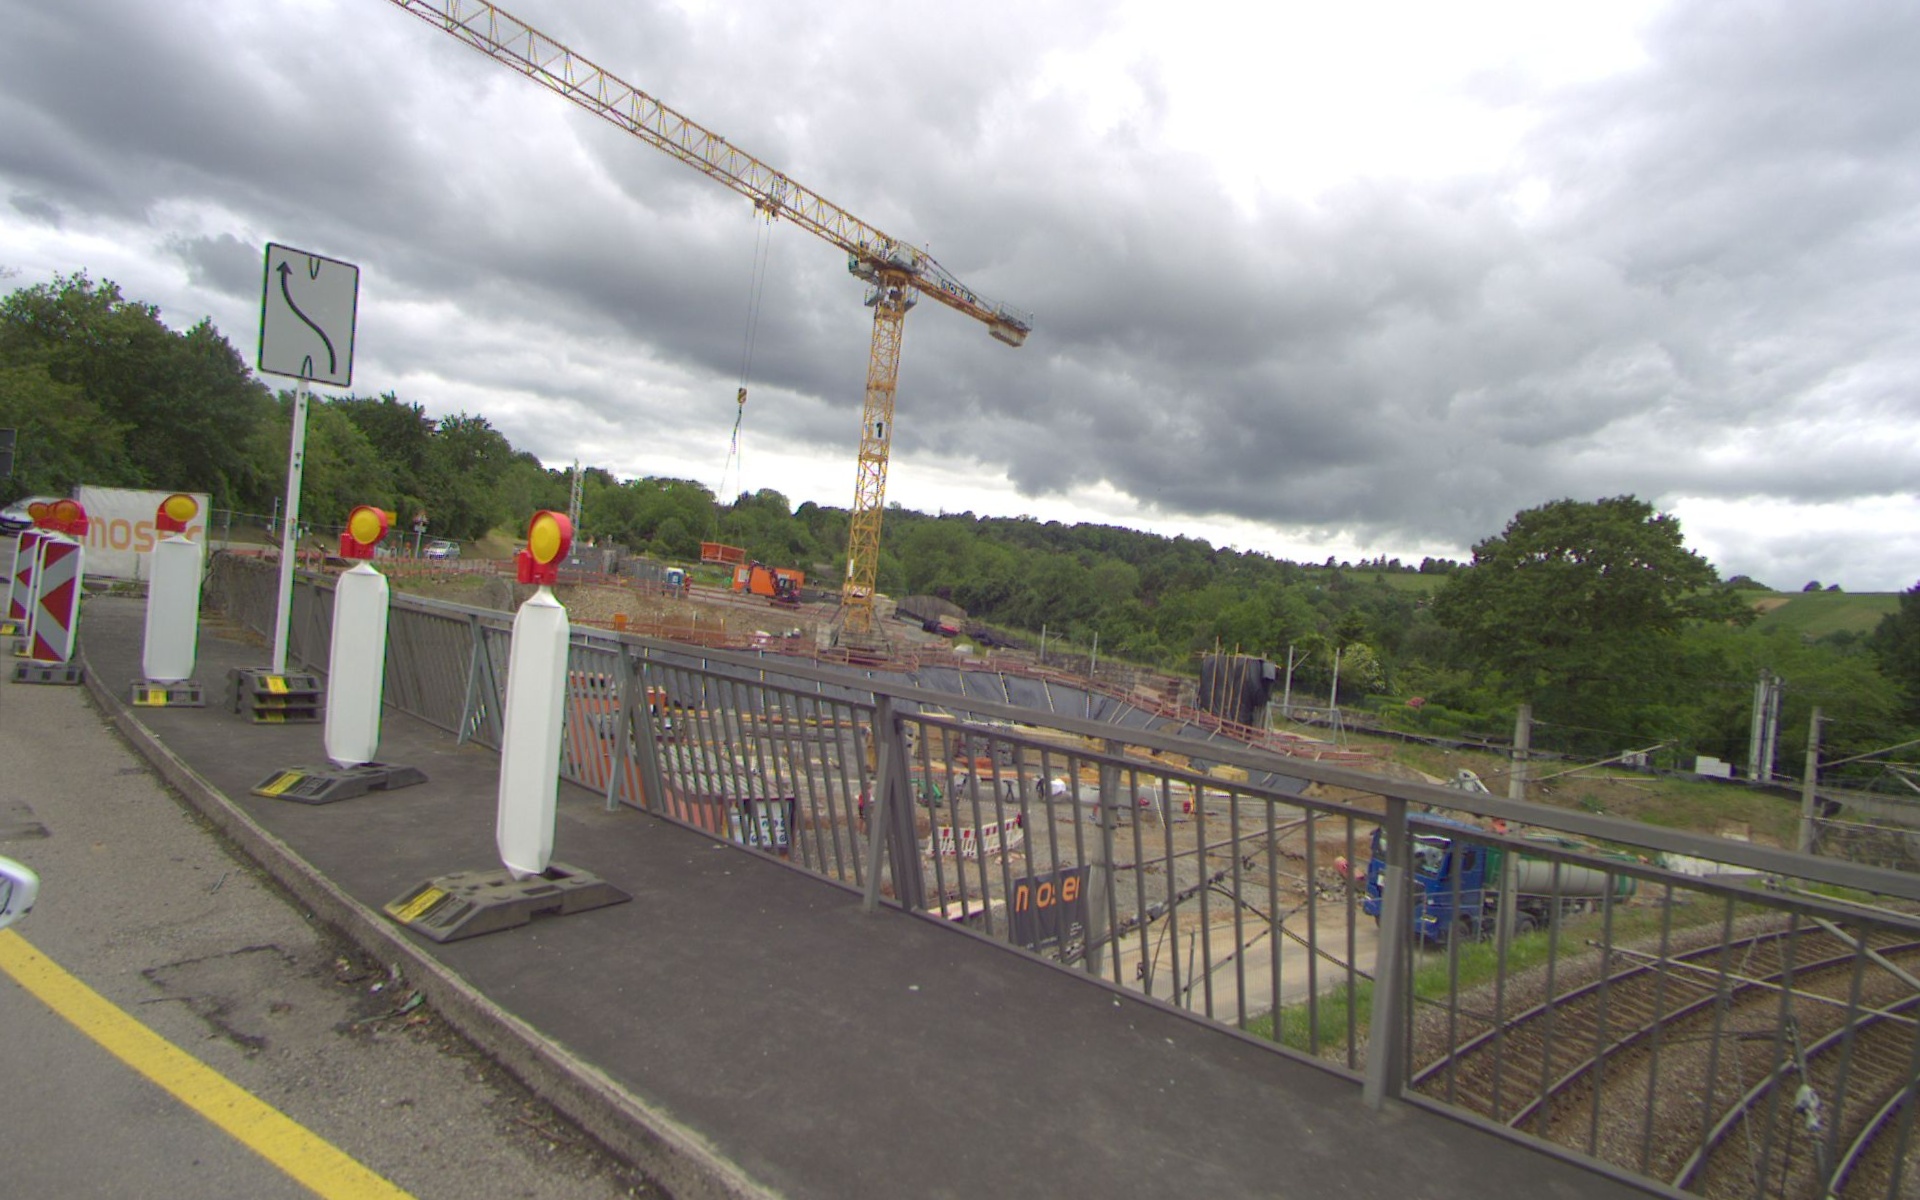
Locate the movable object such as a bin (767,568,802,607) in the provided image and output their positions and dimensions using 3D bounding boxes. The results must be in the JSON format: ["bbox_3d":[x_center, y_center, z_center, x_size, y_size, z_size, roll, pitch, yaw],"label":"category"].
[{"bbox_3d":[-15.449,-1.124,88.681,2.754,3.115,1.837,6,0,-11],"label":"movable object such as a bin"}]

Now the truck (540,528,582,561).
[{"bbox_3d":[-48.758,-6.719,123.086,2.781,3.378,8.363,6,1,-9],"label":"truck"}]

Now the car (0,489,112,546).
[{"bbox_3d":[-33.156,-2.975,36.814,1.615,1.562,4.335,8,-2,-19],"label":"car"}]

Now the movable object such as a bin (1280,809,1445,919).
[{"bbox_3d":[14.344,9.411,36.037,4.223,2.780,3.039,9,-1,-15],"label":"movable object such as a bin"}]

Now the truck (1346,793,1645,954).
[{"bbox_3d":[17.472,8.675,32.288,11.509,3.937,2.823,10,-2,-32],"label":"truck"}]

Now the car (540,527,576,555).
[{"bbox_3d":[-37.211,-5.438,93.164,1.965,2.038,3.996,6,-1,-8],"label":"car"}]

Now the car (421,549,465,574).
[{"bbox_3d":[-41.475,-3.053,80.752,1.634,1.570,4.183,8,-2,-8],"label":"car"}]

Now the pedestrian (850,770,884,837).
[{"bbox_3d":[-3.029,6.595,32.614,0.696,2.036,0.798,5,-3,-30],"label":"pedestrian"}]

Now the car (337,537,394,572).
[{"bbox_3d":[-34.424,-2.621,58.365,1.690,1.695,3.989,6,-1,-14],"label":"car"}]
